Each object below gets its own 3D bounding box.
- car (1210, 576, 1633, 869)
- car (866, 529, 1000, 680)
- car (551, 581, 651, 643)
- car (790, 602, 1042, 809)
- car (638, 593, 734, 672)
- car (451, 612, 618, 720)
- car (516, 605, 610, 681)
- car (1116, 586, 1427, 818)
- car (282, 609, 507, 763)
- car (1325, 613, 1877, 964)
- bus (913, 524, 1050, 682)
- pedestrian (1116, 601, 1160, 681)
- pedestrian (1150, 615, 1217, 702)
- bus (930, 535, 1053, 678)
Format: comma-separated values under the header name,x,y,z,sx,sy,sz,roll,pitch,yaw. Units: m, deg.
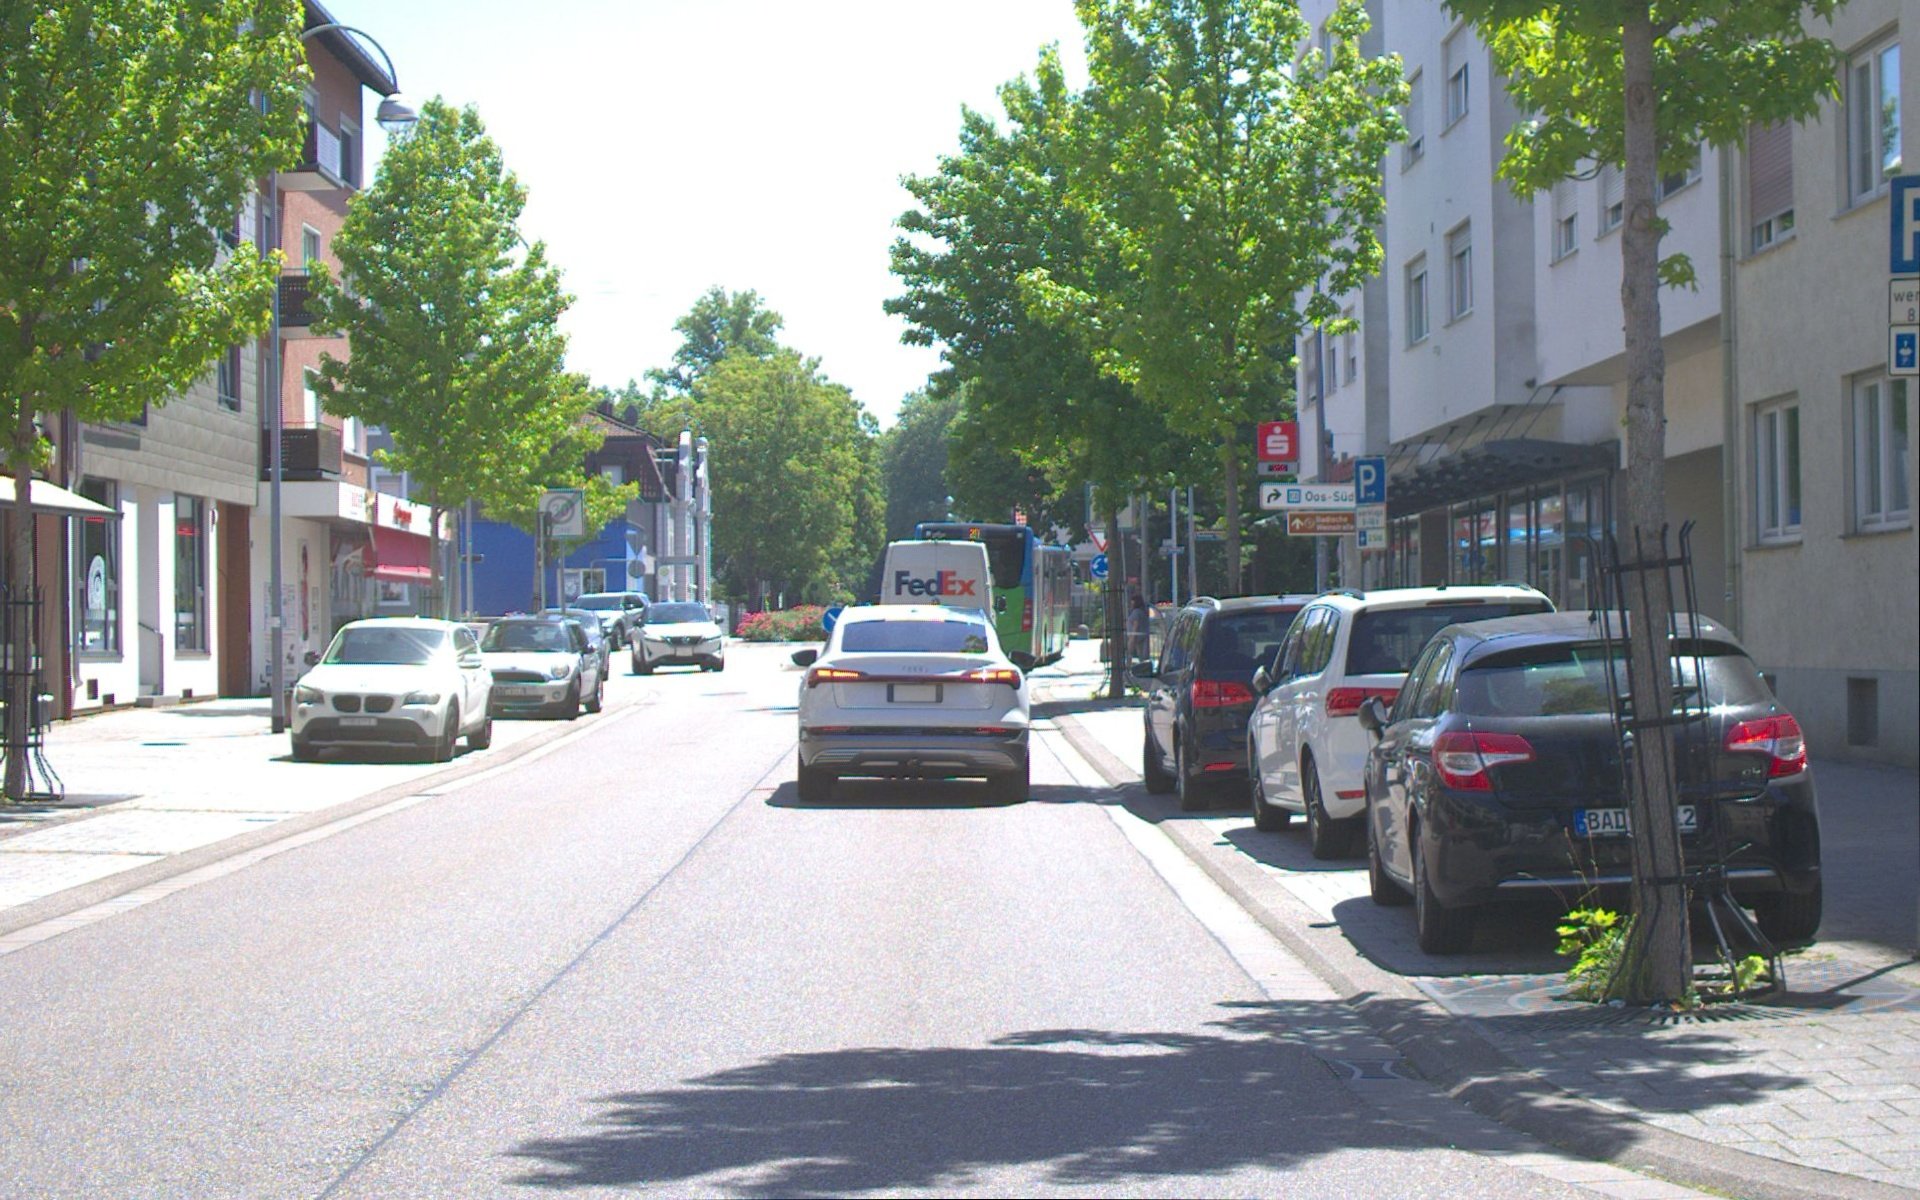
name,x,y,z,sx,sy,sz,roll,pitch,yaw
car,2.918,0.732,22.782,1.896,1.669,4.691,-2,0,-3
car,-0.452,0.103,59.128,2.156,2.433,5.283,1,-1,0
car,-10.602,0.362,101.851,1.866,1.751,3.998,1,-1,10
car,-0.403,0.850,29.476,1.993,1.627,4.000,1,0,-2
car,-6.182,0.736,77.864,1.856,1.686,4.150,-2,0,-1
car,-6.152,0.932,50.116,1.752,1.448,4.400,1,0,2
car,-8.210,0.873,71.288,1.837,1.490,4.001,-1,0,-5
car,2.447,0.773,28.127,1.855,1.669,4.537,-2,0,-3
car,-6.384,0.941,39.249,1.752,1.612,4.400,1,0,1
car,2.919,0.798,16.640,1.896,1.433,4.544,-1,0,1
bus,0.538,0.100,74.659,2.661,3.210,7.300,1,-1,2
pedestrian,3.376,0.771,65.228,0.716,1.497,0.582,-1,0,-8
pedestrian,3.244,0.845,49.878,0.906,1.232,0.648,-1,0,-1
bus,0.817,0.192,82.019,2.661,3.199,7.450,1,-1,2
